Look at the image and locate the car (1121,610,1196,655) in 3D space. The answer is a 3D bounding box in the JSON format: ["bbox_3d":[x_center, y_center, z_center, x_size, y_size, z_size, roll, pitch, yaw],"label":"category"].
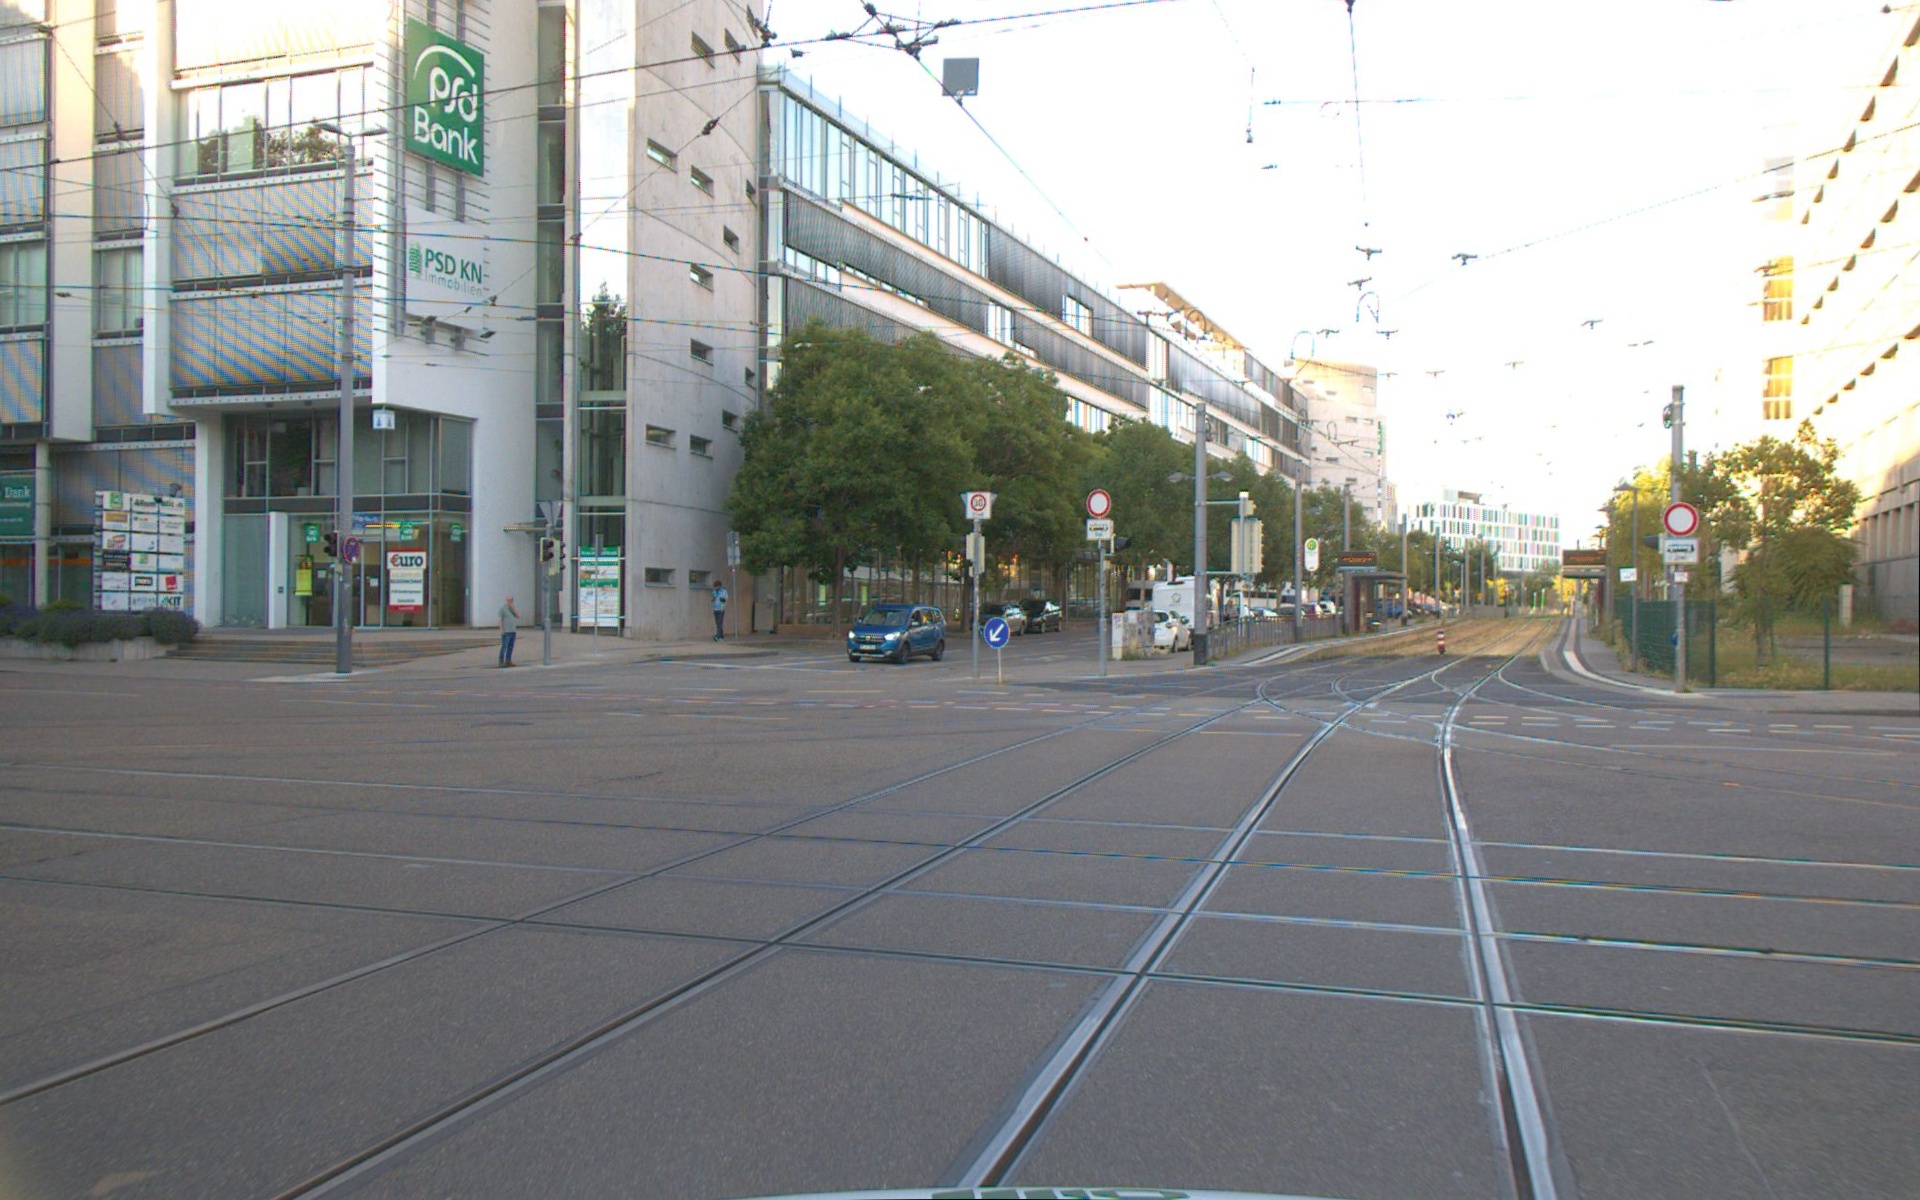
[{"bbox_3d":[6.868,1.075,56.837,1.648,1.464,4.126,0,0,20],"label":"car"}]

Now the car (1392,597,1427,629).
[{"bbox_3d":[29.292,0.819,107.751,1.952,2.049,4.001,0,0,19],"label":"car"}]

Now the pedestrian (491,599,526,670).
[{"bbox_3d":[-11.132,0.843,40.792,0.536,1.741,0.658,0,0,30],"label":"pedestrian"}]

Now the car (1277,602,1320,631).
[{"bbox_3d":[18.132,0.871,88.471,1.648,1.464,4.126,0,0,20],"label":"car"}]

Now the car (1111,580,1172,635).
[{"bbox_3d":[10.996,0.446,99.629,2.156,3.207,6.143,0,0,21],"label":"car"}]

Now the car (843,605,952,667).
[{"bbox_3d":[-1.794,1.026,48.929,1.648,1.729,4.238,0,0,22],"label":"car"}]

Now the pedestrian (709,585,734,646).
[{"bbox_3d":[-7.718,0.492,53.623,0.647,1.956,0.548,-1,0,9],"label":"pedestrian"}]

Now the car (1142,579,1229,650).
[{"bbox_3d":[8.573,0.510,62.392,2.409,2.526,5.812,0,0,17],"label":"car"}]

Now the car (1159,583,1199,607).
[{"bbox_3d":[14.315,-0.297,108.094,1.648,1.528,4.239,0,0,21],"label":"car"}]

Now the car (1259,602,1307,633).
[{"bbox_3d":[15.740,0.830,80.410,1.648,1.464,4.126,0,0,20],"label":"car"}]

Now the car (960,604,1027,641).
[{"bbox_3d":[1.531,0.972,73.231,1.648,1.528,4.239,0,0,21],"label":"car"}]

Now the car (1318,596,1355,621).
[{"bbox_3d":[22.625,0.482,99.342,1.648,1.464,4.126,0,0,20],"label":"car"}]

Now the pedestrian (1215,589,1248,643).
[{"bbox_3d":[10.299,0.601,62.832,1.020,2.066,0.983,0,0,-7],"label":"pedestrian"}]

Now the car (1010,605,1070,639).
[{"bbox_3d":[3.843,1.031,79.052,1.648,1.528,4.239,0,0,21],"label":"car"}]
